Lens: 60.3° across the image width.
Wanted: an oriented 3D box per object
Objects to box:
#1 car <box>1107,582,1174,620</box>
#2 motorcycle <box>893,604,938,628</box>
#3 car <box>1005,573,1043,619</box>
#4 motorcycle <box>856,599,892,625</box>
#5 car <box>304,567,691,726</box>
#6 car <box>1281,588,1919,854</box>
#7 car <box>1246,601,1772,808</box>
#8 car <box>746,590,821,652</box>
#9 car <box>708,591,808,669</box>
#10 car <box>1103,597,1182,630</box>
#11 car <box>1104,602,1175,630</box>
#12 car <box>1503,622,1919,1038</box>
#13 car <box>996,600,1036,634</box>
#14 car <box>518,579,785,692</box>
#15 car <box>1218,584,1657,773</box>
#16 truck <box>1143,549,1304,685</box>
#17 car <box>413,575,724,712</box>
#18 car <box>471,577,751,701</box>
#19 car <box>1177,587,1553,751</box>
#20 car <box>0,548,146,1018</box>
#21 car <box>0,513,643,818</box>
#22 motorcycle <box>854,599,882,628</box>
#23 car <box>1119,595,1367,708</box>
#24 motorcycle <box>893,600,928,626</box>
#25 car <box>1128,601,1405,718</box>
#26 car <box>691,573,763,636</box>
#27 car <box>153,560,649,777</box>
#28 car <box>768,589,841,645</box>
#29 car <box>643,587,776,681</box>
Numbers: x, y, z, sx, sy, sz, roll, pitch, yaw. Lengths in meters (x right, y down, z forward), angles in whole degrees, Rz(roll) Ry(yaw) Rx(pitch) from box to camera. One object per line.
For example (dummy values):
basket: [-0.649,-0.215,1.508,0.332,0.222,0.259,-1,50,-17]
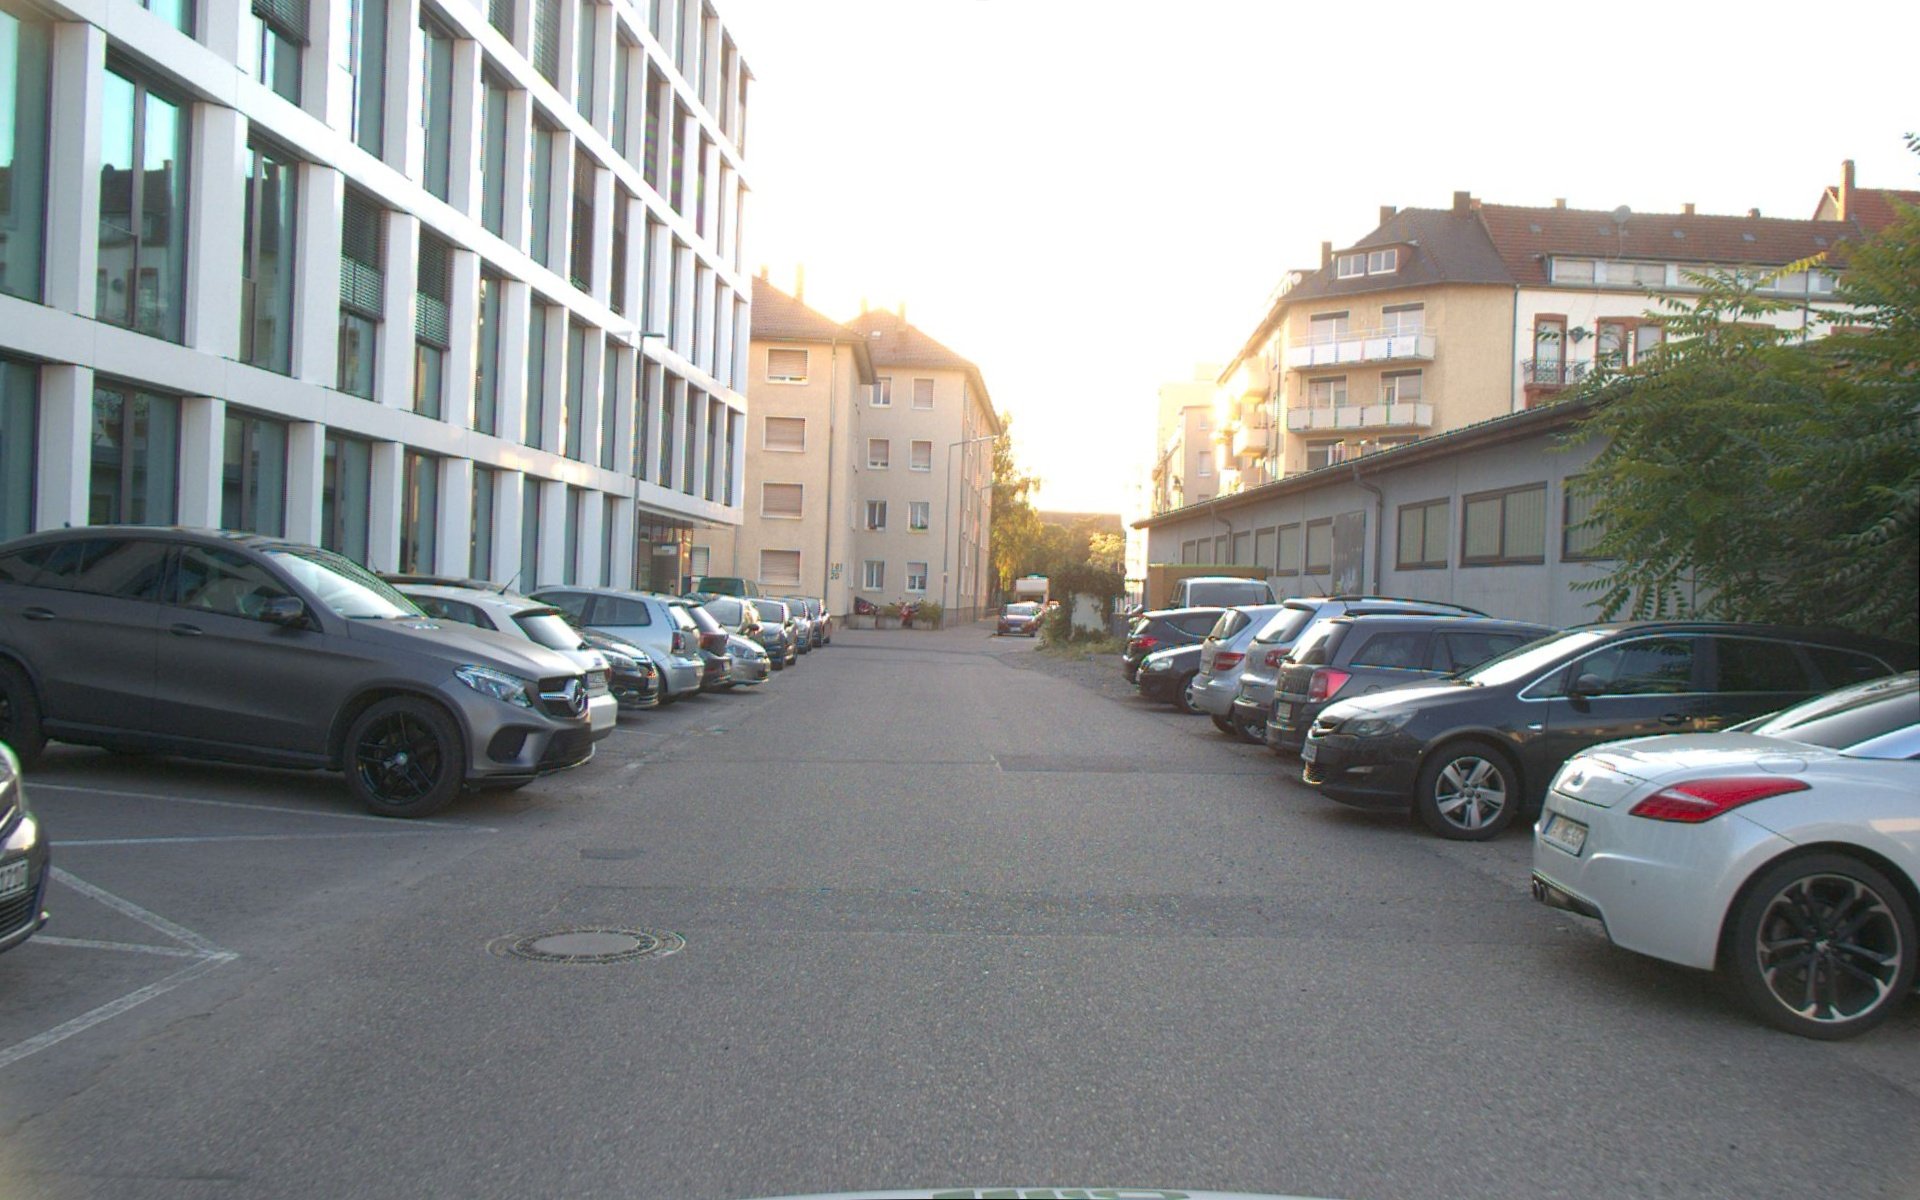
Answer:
car: [13.627,0.078,124.964,4.716,2.765,2.136,0,0,18]
motorcycle: [-2.156,0.775,80.702,2.078,1.124,0.560,2,0,15]
car: [4.793,-0.272,123.384,2.565,3.326,7.700,0,0,4]
motorcycle: [-3.812,0.547,73.726,0.709,1.098,2.080,2,0,24]
car: [-5.287,0.504,19.222,3.882,1.537,1.796,3,0,3]
car: [4.529,0.809,11.765,4.116,1.529,1.890,3,-1,2]
car: [4.603,0.859,14.305,3.902,1.470,1.827,3,-1,1]
car: [-4.856,0.547,46.006,1.676,1.504,4.183,5,0,-2]
car: [-4.405,0.624,36.652,1.615,1.463,4.184,5,0,-1]
car: [10.872,0.830,98.825,4.623,1.943,2.060,0,-1,3]
car: [10.936,0.968,100.911,4.233,1.666,1.818,0,-1,3]
car: [4.555,0.909,6.688,4.115,1.391,1.824,3,0,4]
car: [2.659,0.805,78.103,1.807,1.499,4.079,2,0,2]
car: [-4.883,0.547,26.521,3.845,1.537,1.688,3,0,3]
car: [4.809,0.767,17.009,3.905,1.647,1.826,3,0,-3]
truck: [4.778,0.298,30.870,2.055,2.239,5.711,2,0,0]
car: [-5.068,0.538,21.737,3.579,1.537,1.688,3,0,2]
car: [-4.981,0.537,23.895,3.579,1.537,1.688,3,0,2]
car: [4.694,0.775,19.587,3.903,1.637,1.938,3,0,-1]
car: [-4.996,0.514,5.456,3.704,1.549,1.693,3,0,0]
car: [-4.757,0.373,11.582,4.521,1.735,2.006,3,0,5]
motorcycle: [-4.220,0.643,76.043,0.708,1.287,2.082,2,0,14]
car: [4.528,0.796,26.861,3.682,1.562,1.892,3,1,1]
motorcycle: [-2.288,0.612,76.218,0.675,1.180,2.031,2,0,27]
car: [4.458,0.860,24.466,3.683,1.469,1.845,3,-1,-1]
car: [-7.974,0.126,56.878,1.761,2.014,4.689,2,1,0]
car: [-4.698,0.539,14.201,3.589,1.537,1.697,3,0,5]
car: [-4.851,0.506,52.037,1.744,1.504,4.331,5,0,0]
car: [-4.557,0.588,30.631,1.614,1.463,4.202,5,0,1]
